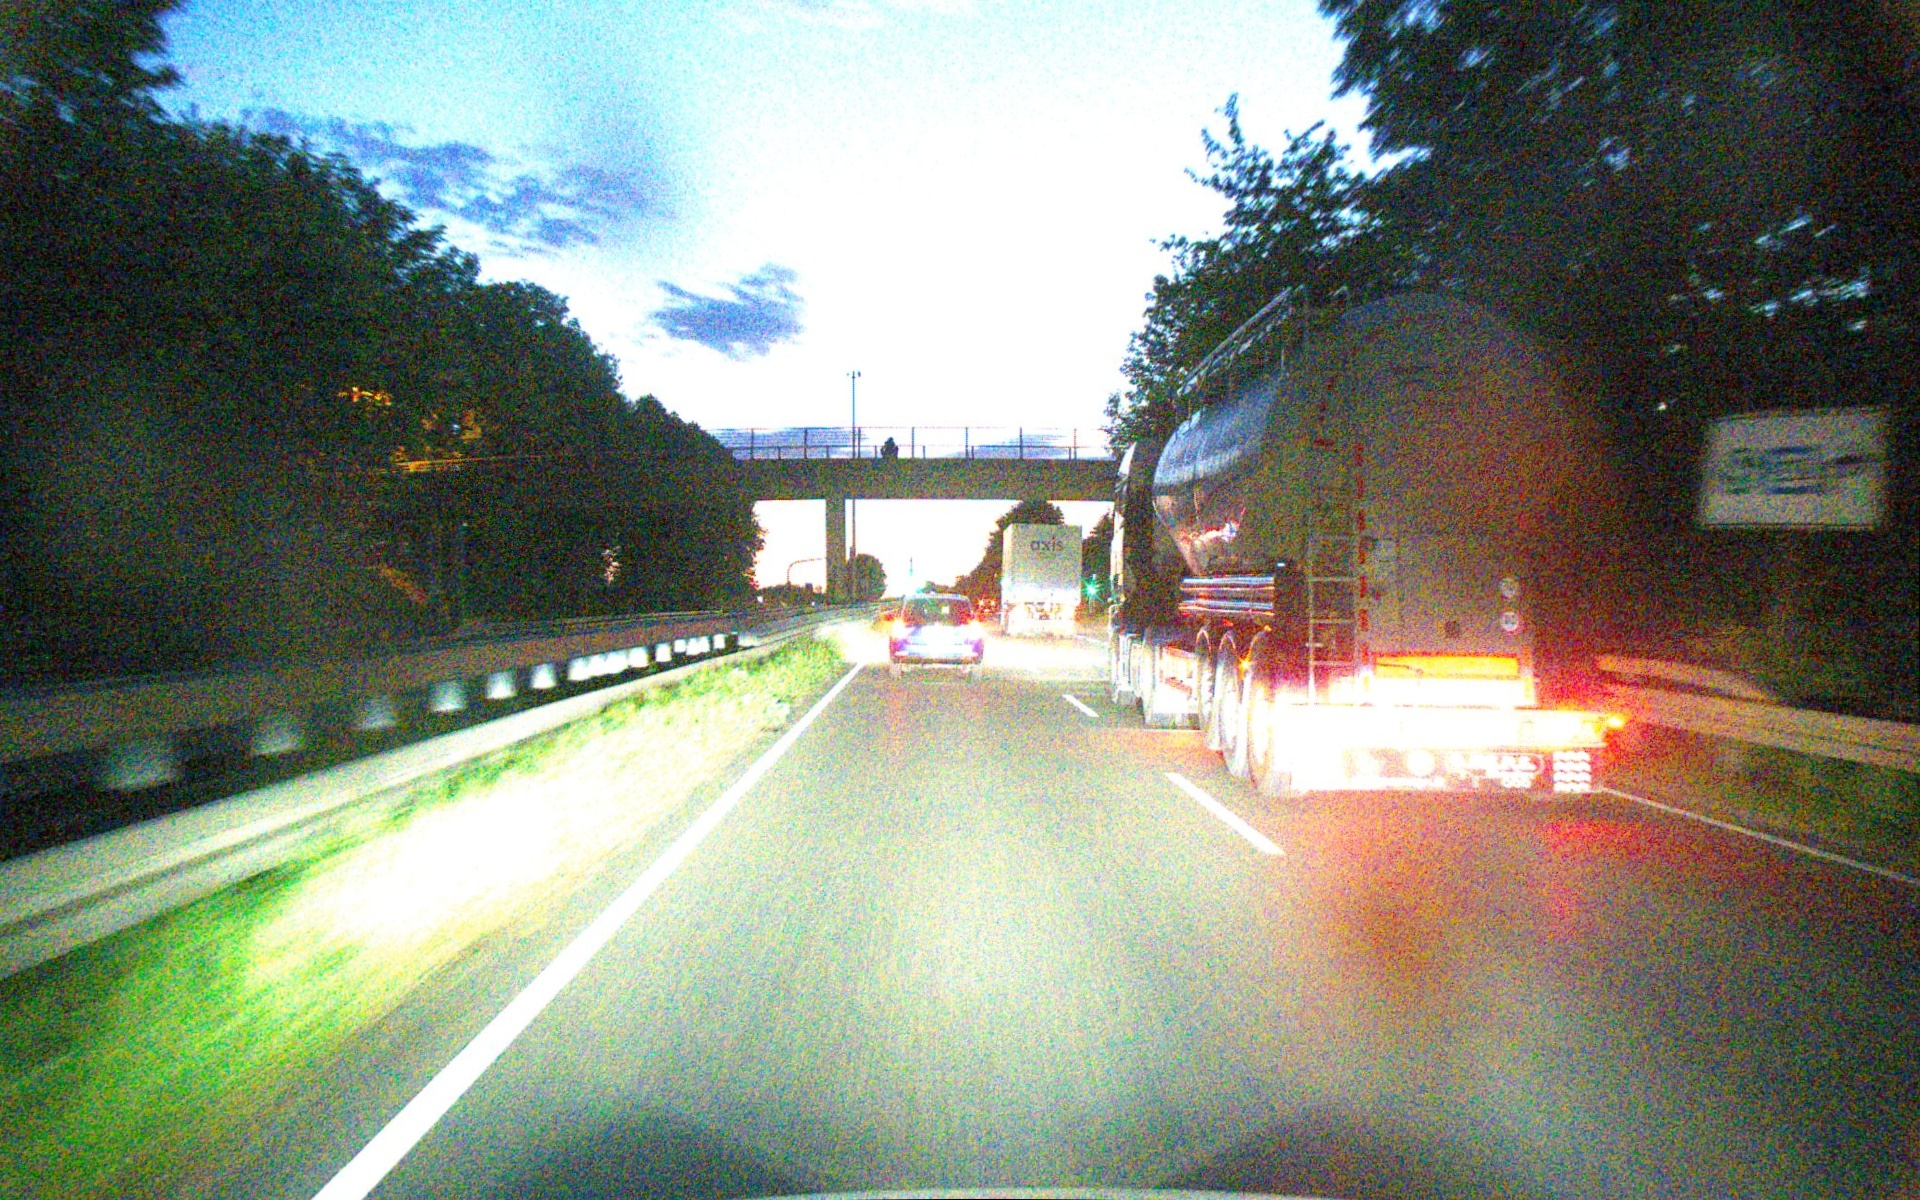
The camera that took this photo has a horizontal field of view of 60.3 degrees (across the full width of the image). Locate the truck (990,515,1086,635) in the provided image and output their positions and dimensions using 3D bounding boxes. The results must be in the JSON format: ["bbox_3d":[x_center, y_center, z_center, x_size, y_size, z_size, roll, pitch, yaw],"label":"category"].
[{"bbox_3d":[2.854,-0.852,64.377,2.824,4.178,12.680,1,0,-1],"label":"truck"}]

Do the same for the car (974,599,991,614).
[{"bbox_3d":[2.324,0.689,170.993,1.661,1.478,3.913,1,0,-1],"label":"car"}]

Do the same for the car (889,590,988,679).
[{"bbox_3d":[-0.405,0.593,30.007,1.661,1.478,3.913,1,0,-1],"label":"car"}]

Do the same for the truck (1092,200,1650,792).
[{"bbox_3d":[3.469,-0.722,18.367,2.633,4.178,13.137,1,0,-1],"label":"truck"}]
